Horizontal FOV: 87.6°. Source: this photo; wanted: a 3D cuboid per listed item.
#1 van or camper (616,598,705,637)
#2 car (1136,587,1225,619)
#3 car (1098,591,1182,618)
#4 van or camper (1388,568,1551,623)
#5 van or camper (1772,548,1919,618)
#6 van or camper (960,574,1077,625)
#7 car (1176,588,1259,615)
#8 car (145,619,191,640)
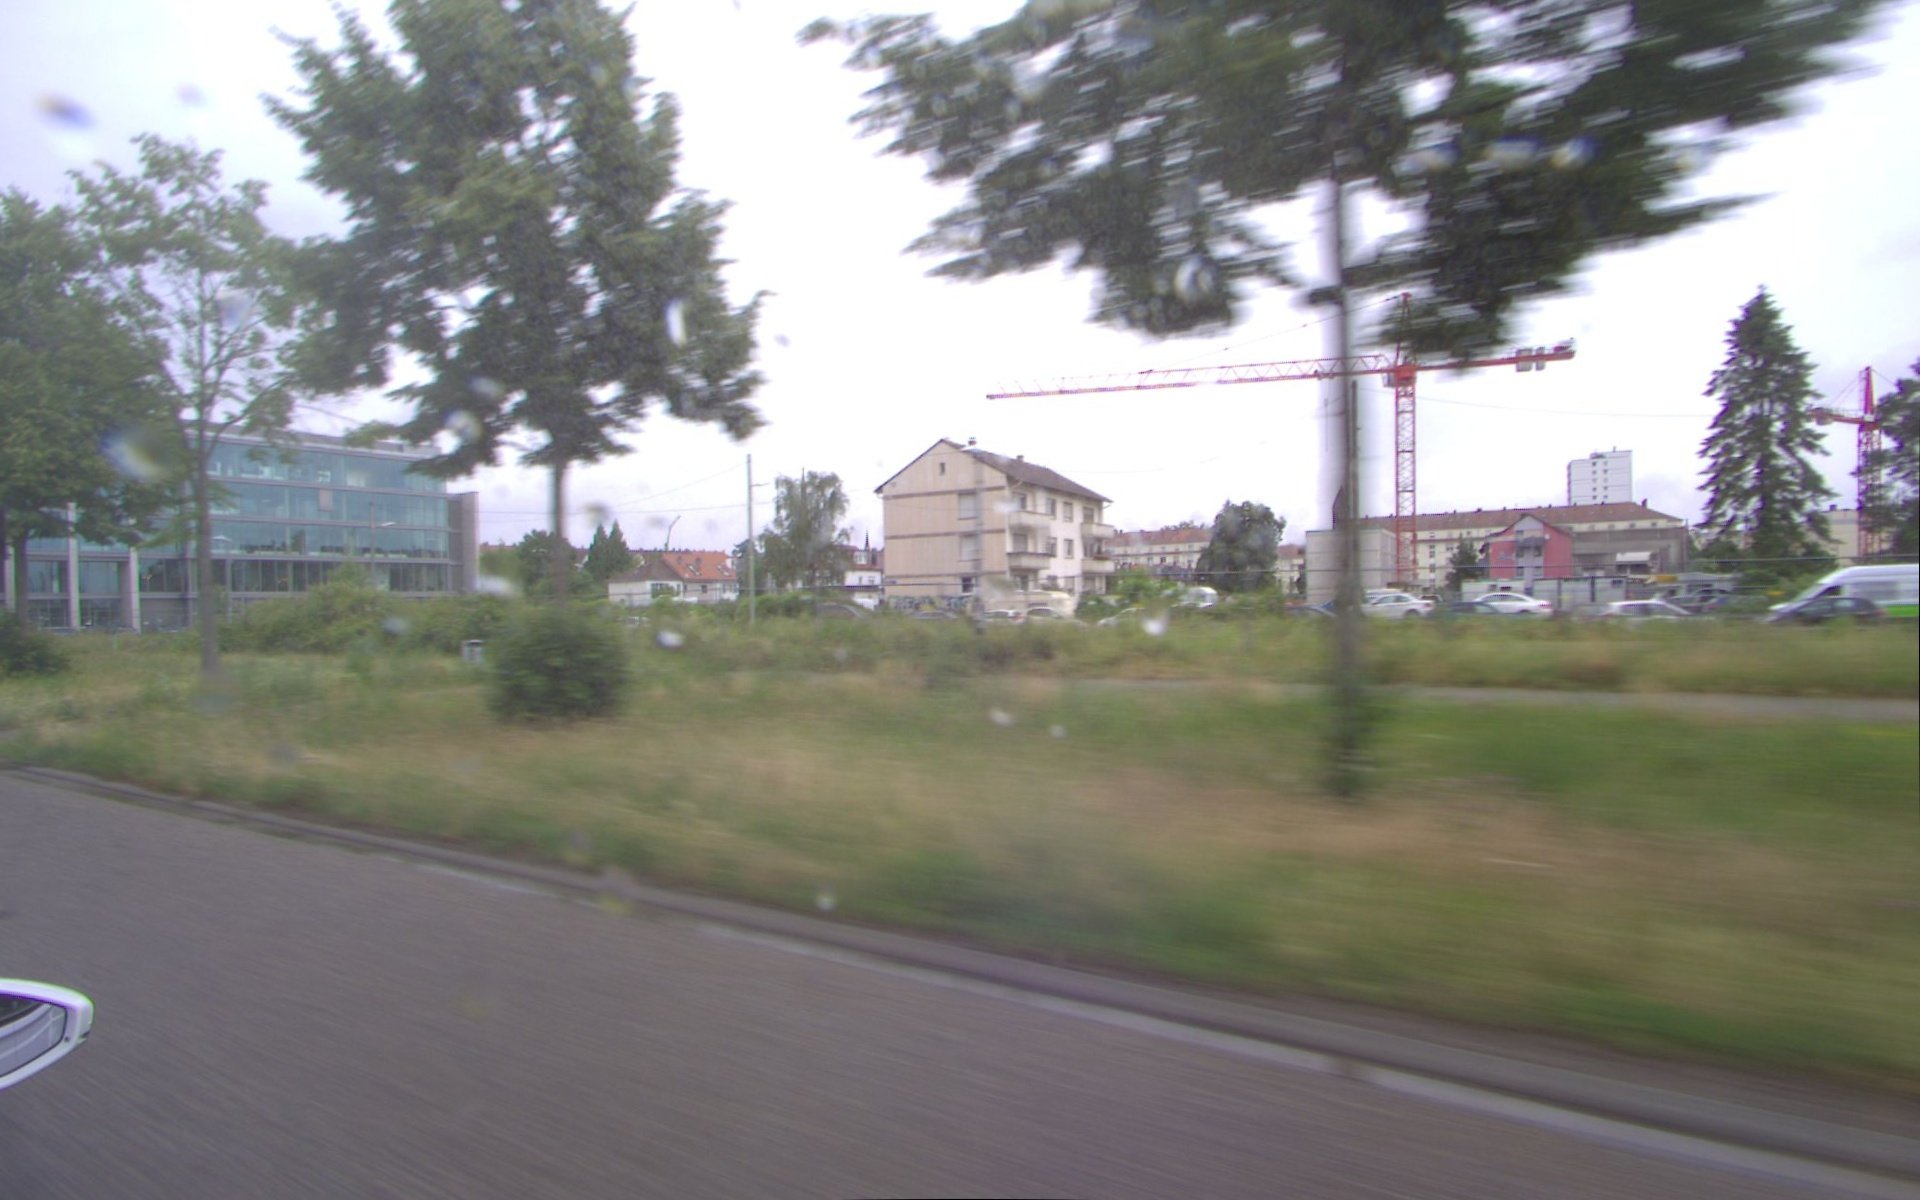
[{"bbox_3d":[-23.670,1.394,79.106,6.672,3.033,2.904,-1,0,28],"label":"van or camper"},{"bbox_3d":[14.088,0.220,64.014,5.126,1.919,2.160,-1,0,28],"label":"car"},{"bbox_3d":[9.425,0.244,52.422,3.975,1.370,1.692,-1,0,33],"label":"car"},{"bbox_3d":[23.406,-0.132,46.189,6.548,2.337,2.500,-1,-2,30],"label":"van or camper"},{"bbox_3d":[35.625,-0.603,38.559,6.322,2.569,2.773,-1,-1,30],"label":"van or camper"},{"bbox_3d":[3.319,0.021,57.362,6.301,2.724,2.305,-1,0,30],"label":"van or camper"},{"bbox_3d":[13.875,0.113,54.027,3.975,1.370,1.692,-1,0,33],"label":"car"},{"bbox_3d":[-60.328,2.227,76.286,4.176,1.494,1.779,-1,-1,37],"label":"car"}]
